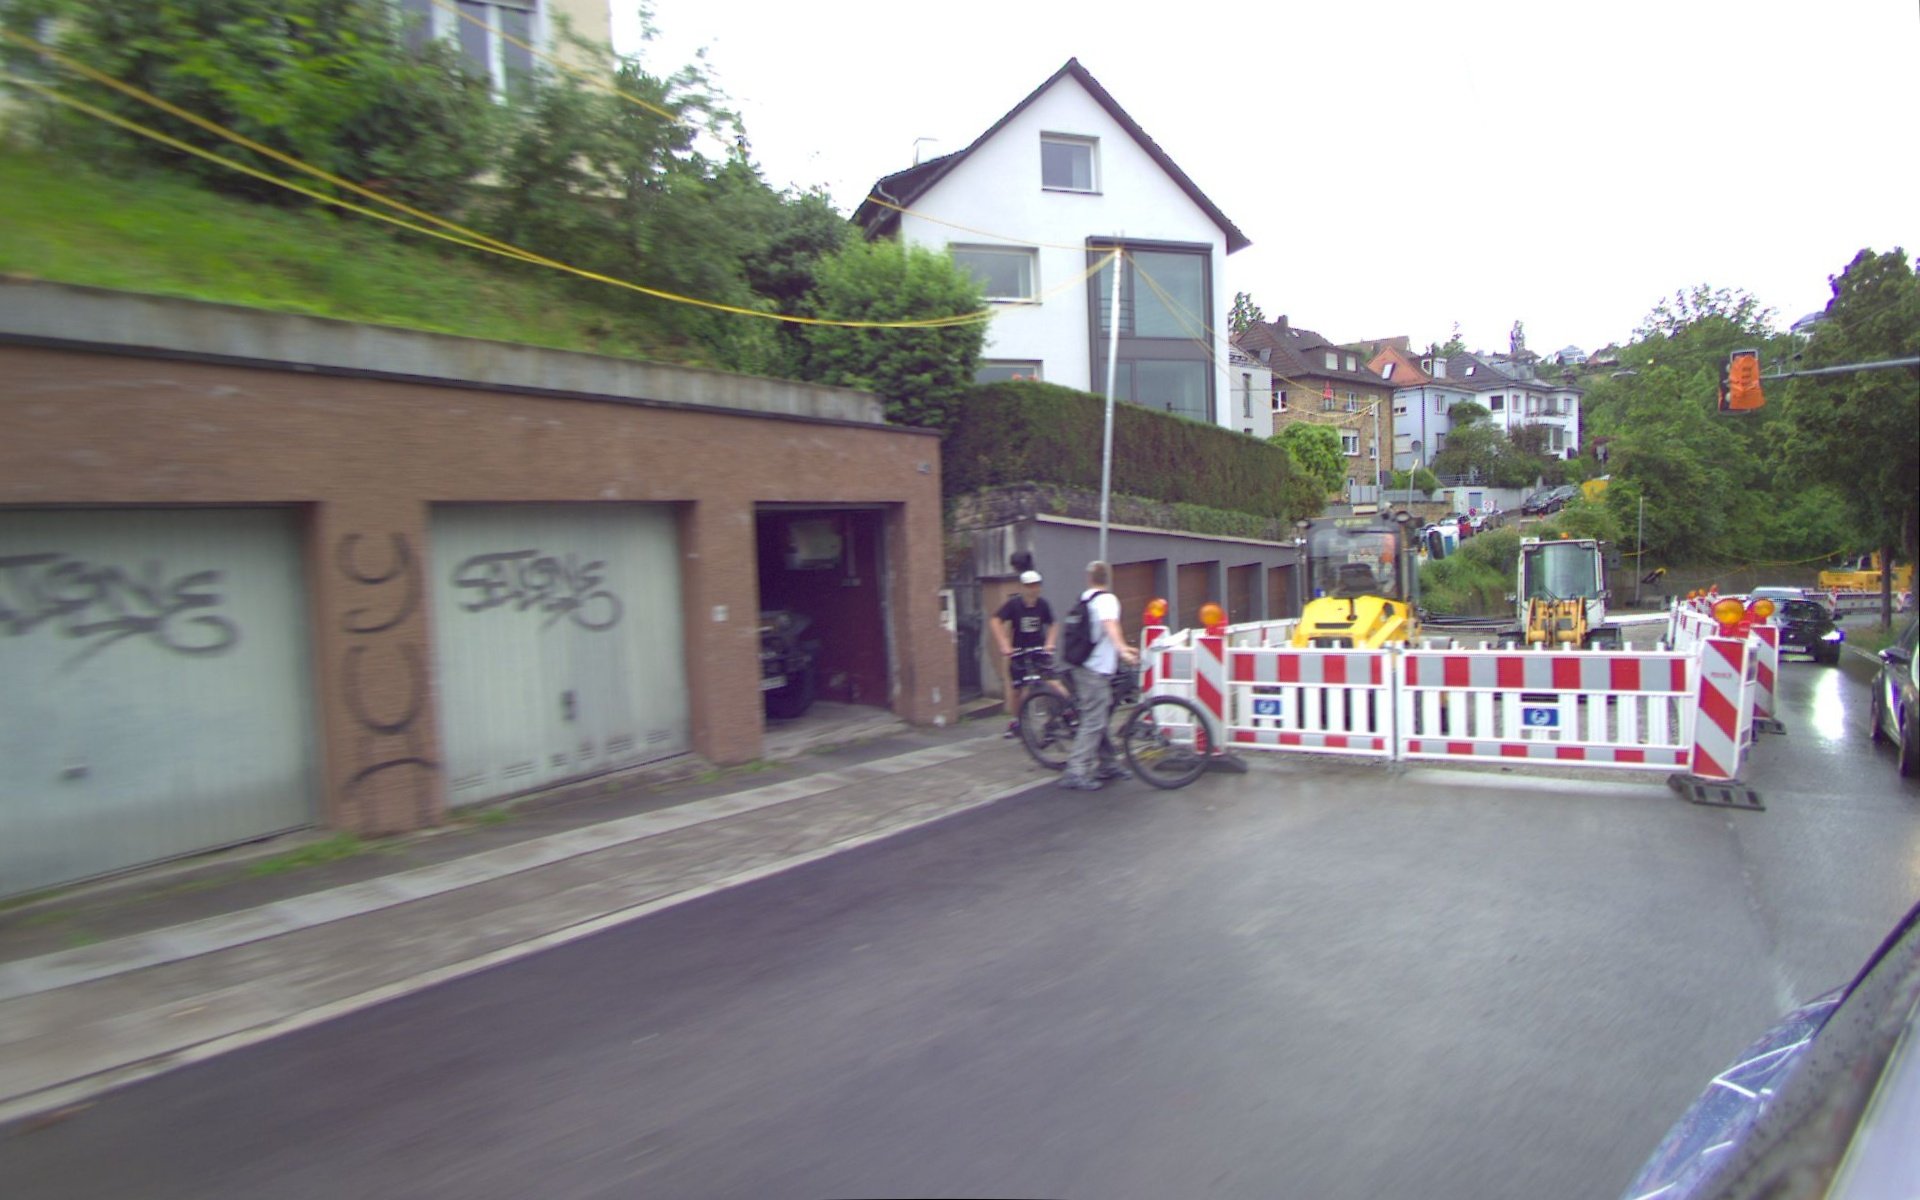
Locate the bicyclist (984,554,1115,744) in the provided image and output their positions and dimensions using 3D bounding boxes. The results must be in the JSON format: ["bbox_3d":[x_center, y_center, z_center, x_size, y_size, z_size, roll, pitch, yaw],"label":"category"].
[{"bbox_3d":[0.858,0.429,9.956,0.913,1.750,1.079,-1,1,-21],"label":"bicyclist"}]

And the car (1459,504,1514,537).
[{"bbox_3d":[33.961,-5.159,65.262,3.903,1.652,1.859,-13,11,-40],"label":"car"}]

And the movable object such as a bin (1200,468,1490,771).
[{"bbox_3d":[5.013,0.145,12.539,2.079,2.873,5.606,1,1,34],"label":"movable object such as a bin"}]

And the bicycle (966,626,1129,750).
[{"bbox_3d":[0.816,0.816,10.090,0.913,0.993,1.834,-1,2,-21],"label":"bicycle"}]

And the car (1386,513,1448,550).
[{"bbox_3d":[26.693,-3.999,59.093,3.774,1.652,1.859,-13,11,-40],"label":"car"}]

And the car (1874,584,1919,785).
[{"bbox_3d":[9.666,0.672,9.256,1.668,1.484,4.649,3,4,39],"label":"car"}]

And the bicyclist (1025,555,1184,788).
[{"bbox_3d":[1.196,0.523,8.263,1.066,1.750,0.925,0,1,26],"label":"bicyclist"}]

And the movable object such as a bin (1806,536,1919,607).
[{"bbox_3d":[52.727,-1.666,57.933,7.052,3.886,3.340,0,3,-20],"label":"movable object such as a bin"}]

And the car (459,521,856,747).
[{"bbox_3d":[-3.453,0.236,11.283,4.359,2.037,1.794,1,6,34],"label":"car"}]

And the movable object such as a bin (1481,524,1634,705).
[{"bbox_3d":[11.335,0.056,18.991,2.079,2.872,5.609,1,4,34],"label":"movable object such as a bin"}]

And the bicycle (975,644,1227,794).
[{"bbox_3d":[1.151,0.913,8.294,1.866,0.993,0.924,1,1,27],"label":"bicycle"}]

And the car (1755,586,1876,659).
[{"bbox_3d":[20.311,0.460,24.188,1.833,1.420,4.020,3,4,36],"label":"car"}]

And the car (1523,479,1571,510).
[{"bbox_3d":[41.852,-7.513,72.125,3.904,1.652,1.859,-14,12,-40],"label":"car"}]

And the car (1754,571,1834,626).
[{"bbox_3d":[29.608,-0.102,35.889,1.994,1.729,4.506,3,4,42],"label":"car"}]

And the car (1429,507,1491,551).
[{"bbox_3d":[30.874,-4.410,62.436,4.361,2.099,1.899,-13,11,-40],"label":"car"}]
